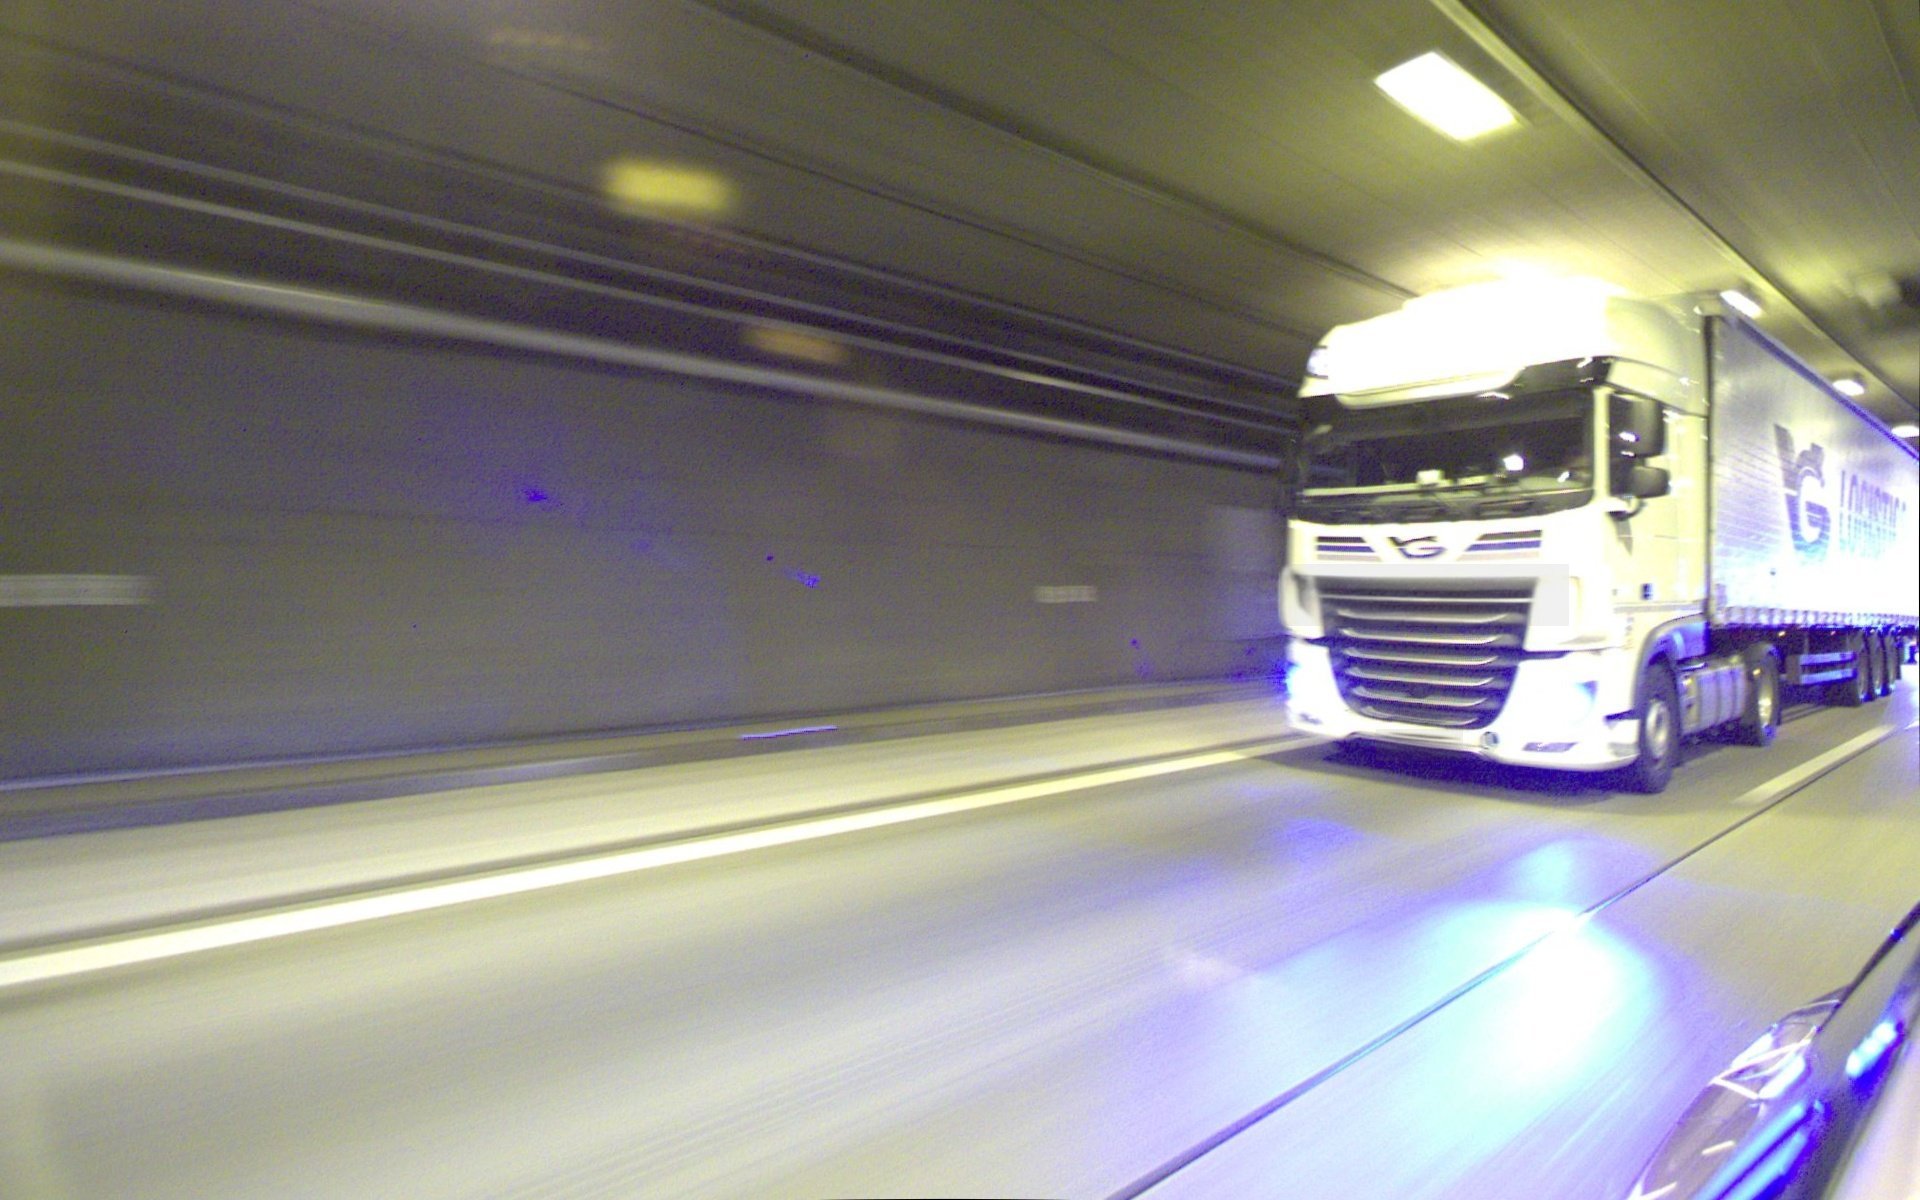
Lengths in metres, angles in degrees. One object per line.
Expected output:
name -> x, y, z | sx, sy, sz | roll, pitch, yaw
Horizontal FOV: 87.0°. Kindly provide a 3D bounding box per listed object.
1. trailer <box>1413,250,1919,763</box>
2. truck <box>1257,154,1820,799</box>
trailer -> 10.819, -0.791, 13.690 | 13.749, 4.216, 2.626 | 0, -1, -39
truck -> 5.664, -0.825, 9.511 | 5.897, 4.216, 2.652 | 0, 0, -39
